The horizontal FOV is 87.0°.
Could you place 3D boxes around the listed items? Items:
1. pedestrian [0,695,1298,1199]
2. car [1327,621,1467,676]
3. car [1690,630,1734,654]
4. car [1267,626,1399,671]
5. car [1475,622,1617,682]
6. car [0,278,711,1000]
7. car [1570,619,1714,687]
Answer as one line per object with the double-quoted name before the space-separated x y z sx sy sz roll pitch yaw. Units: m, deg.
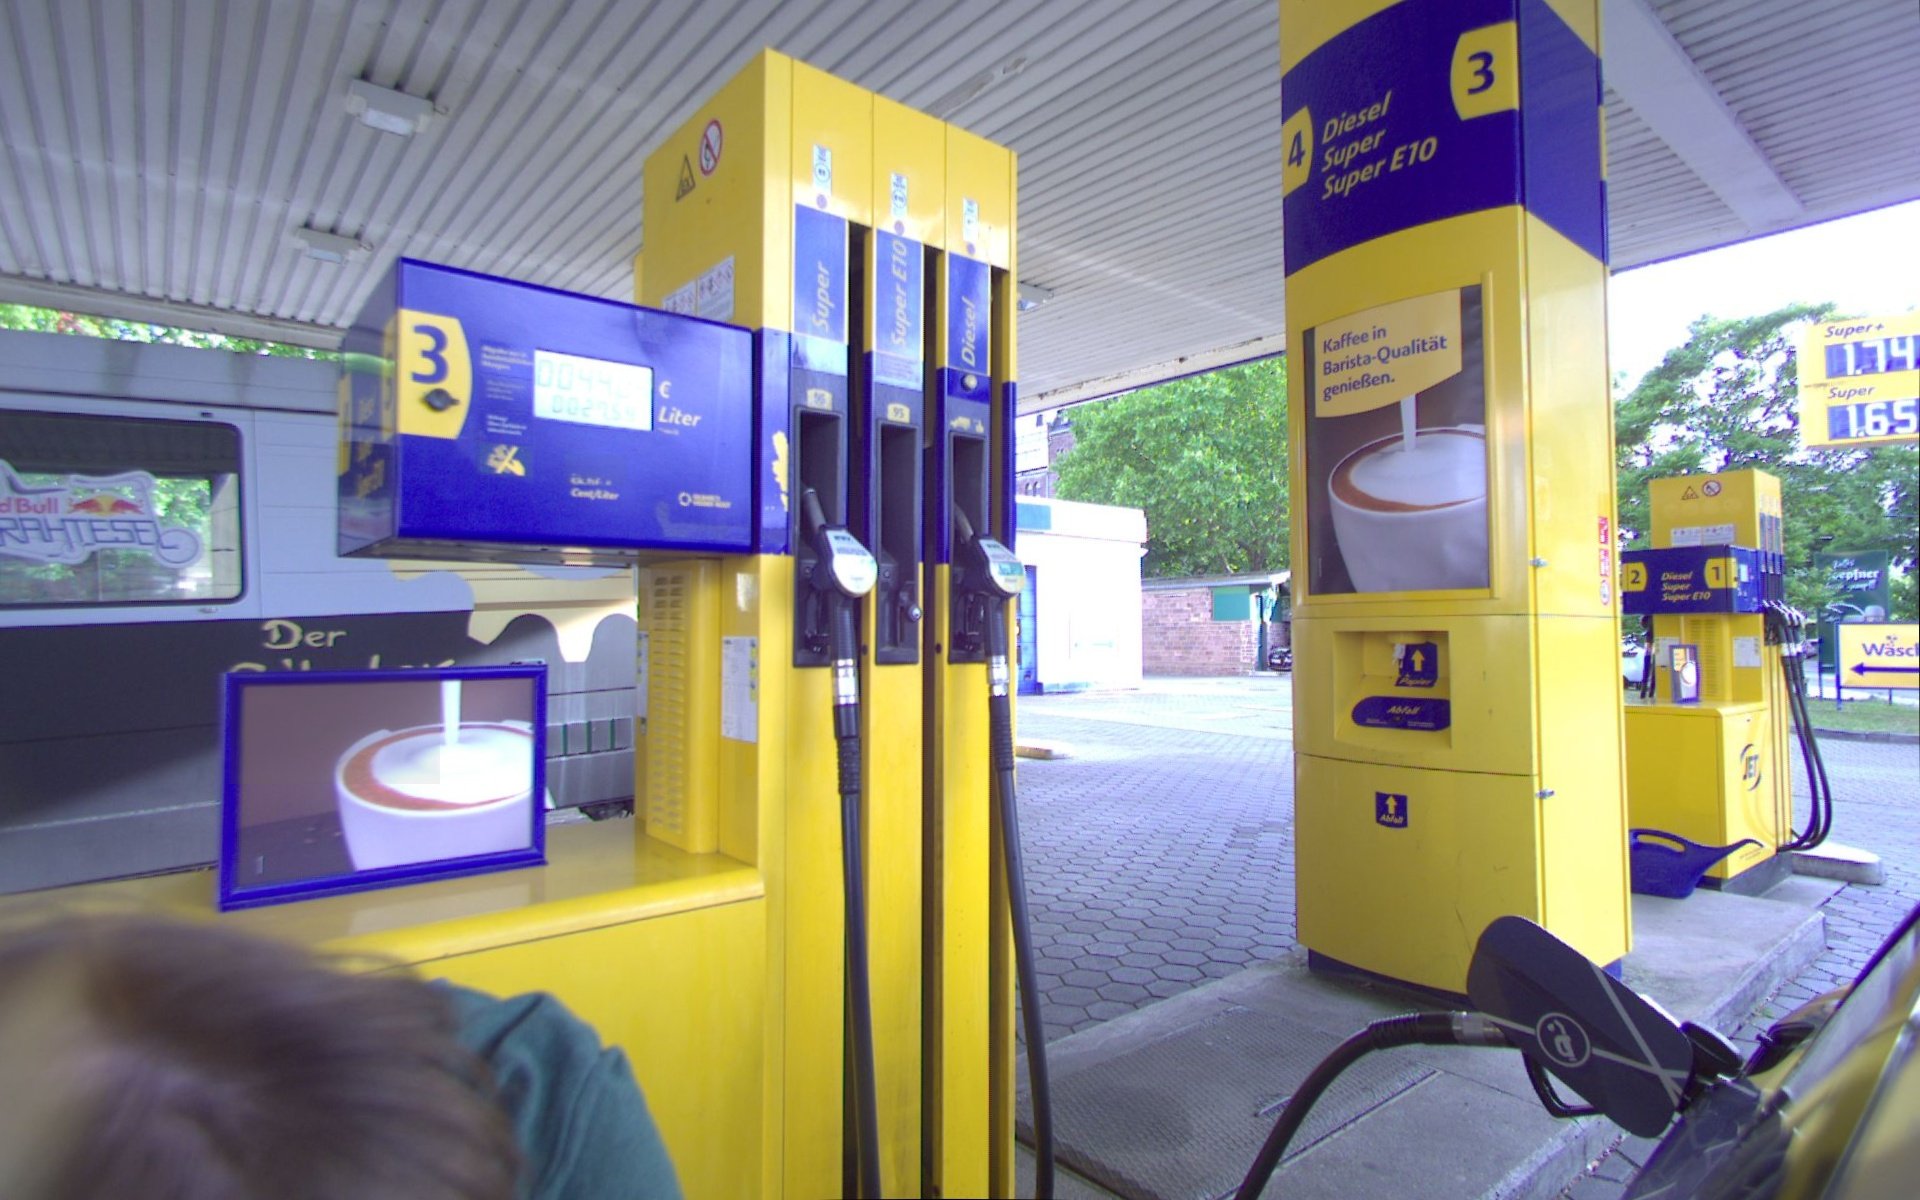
"pedestrian" -0.328 0.752 0.547 0.662 1.298 0.751 0 0 -41
"car" 13.894 1.532 32.137 4.303 1.622 1.777 2 -1 -28
"car" 48.772 2.699 65.700 1.674 1.491 3.773 0 -2 28
"car" 12.697 1.655 34.429 4.303 1.393 1.777 2 -1 -28
"car" 17.853 1.590 30.802 4.303 1.622 1.776 4 -4 -28
"car" -4.103 0.164 4.895 5.197 2.726 2.258 1 -2 -39
"car" 18.363 1.447 27.203 4.308 1.622 1.774 4 -4 -35
